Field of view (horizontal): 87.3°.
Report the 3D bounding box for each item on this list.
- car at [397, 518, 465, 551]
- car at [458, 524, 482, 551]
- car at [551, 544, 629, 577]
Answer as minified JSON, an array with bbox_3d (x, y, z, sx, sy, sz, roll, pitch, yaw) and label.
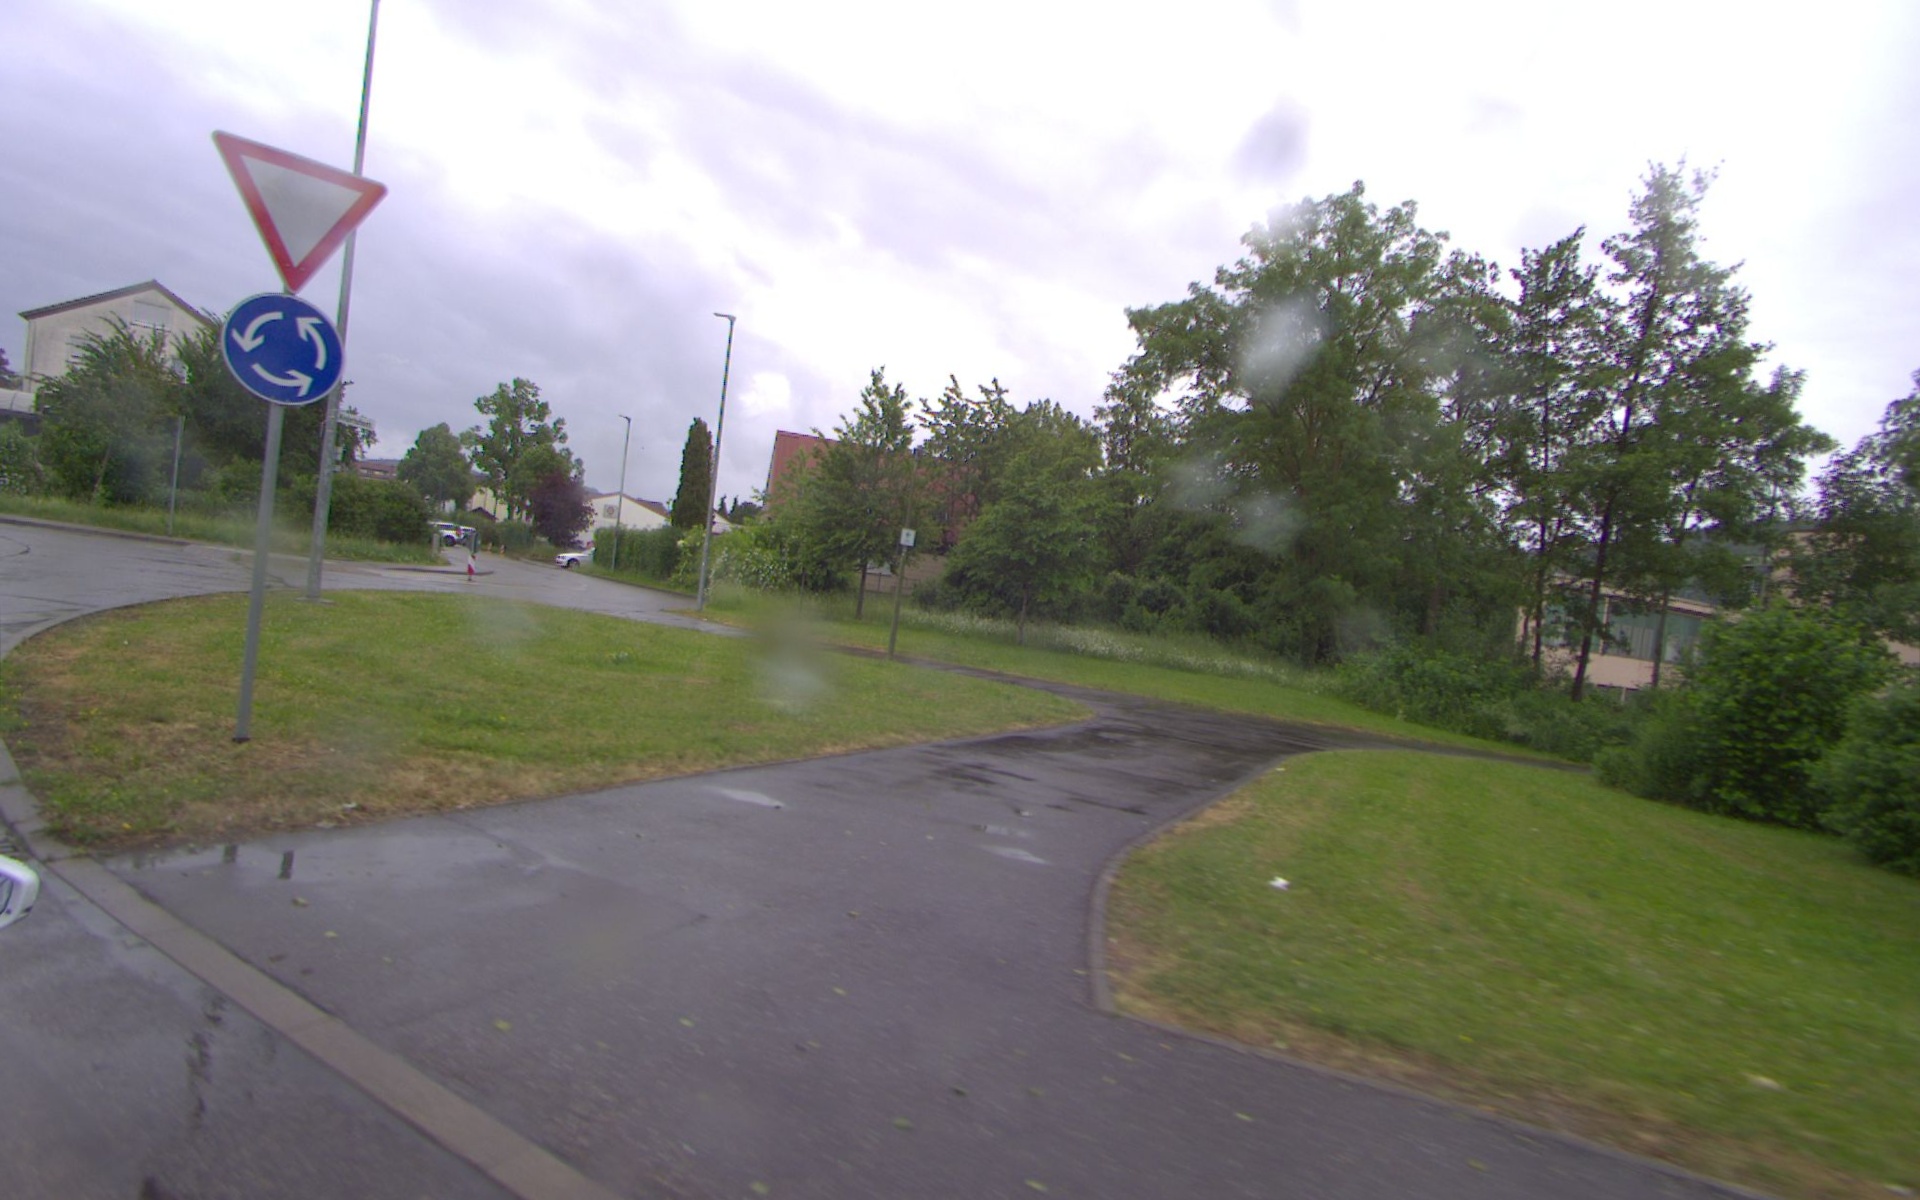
[{"bbox_3d":[-38.144,-4.718,72.599,3.942,1.850,1.888,6,1,-19],"label":"car"},{"bbox_3d":[-40.922,-5.191,84.067,1.569,2.039,3.975,6,1,-25],"label":"car"},{"bbox_3d":[-21.813,-2.333,59.323,3.961,1.391,1.769,8,0,-33],"label":"car"}]
